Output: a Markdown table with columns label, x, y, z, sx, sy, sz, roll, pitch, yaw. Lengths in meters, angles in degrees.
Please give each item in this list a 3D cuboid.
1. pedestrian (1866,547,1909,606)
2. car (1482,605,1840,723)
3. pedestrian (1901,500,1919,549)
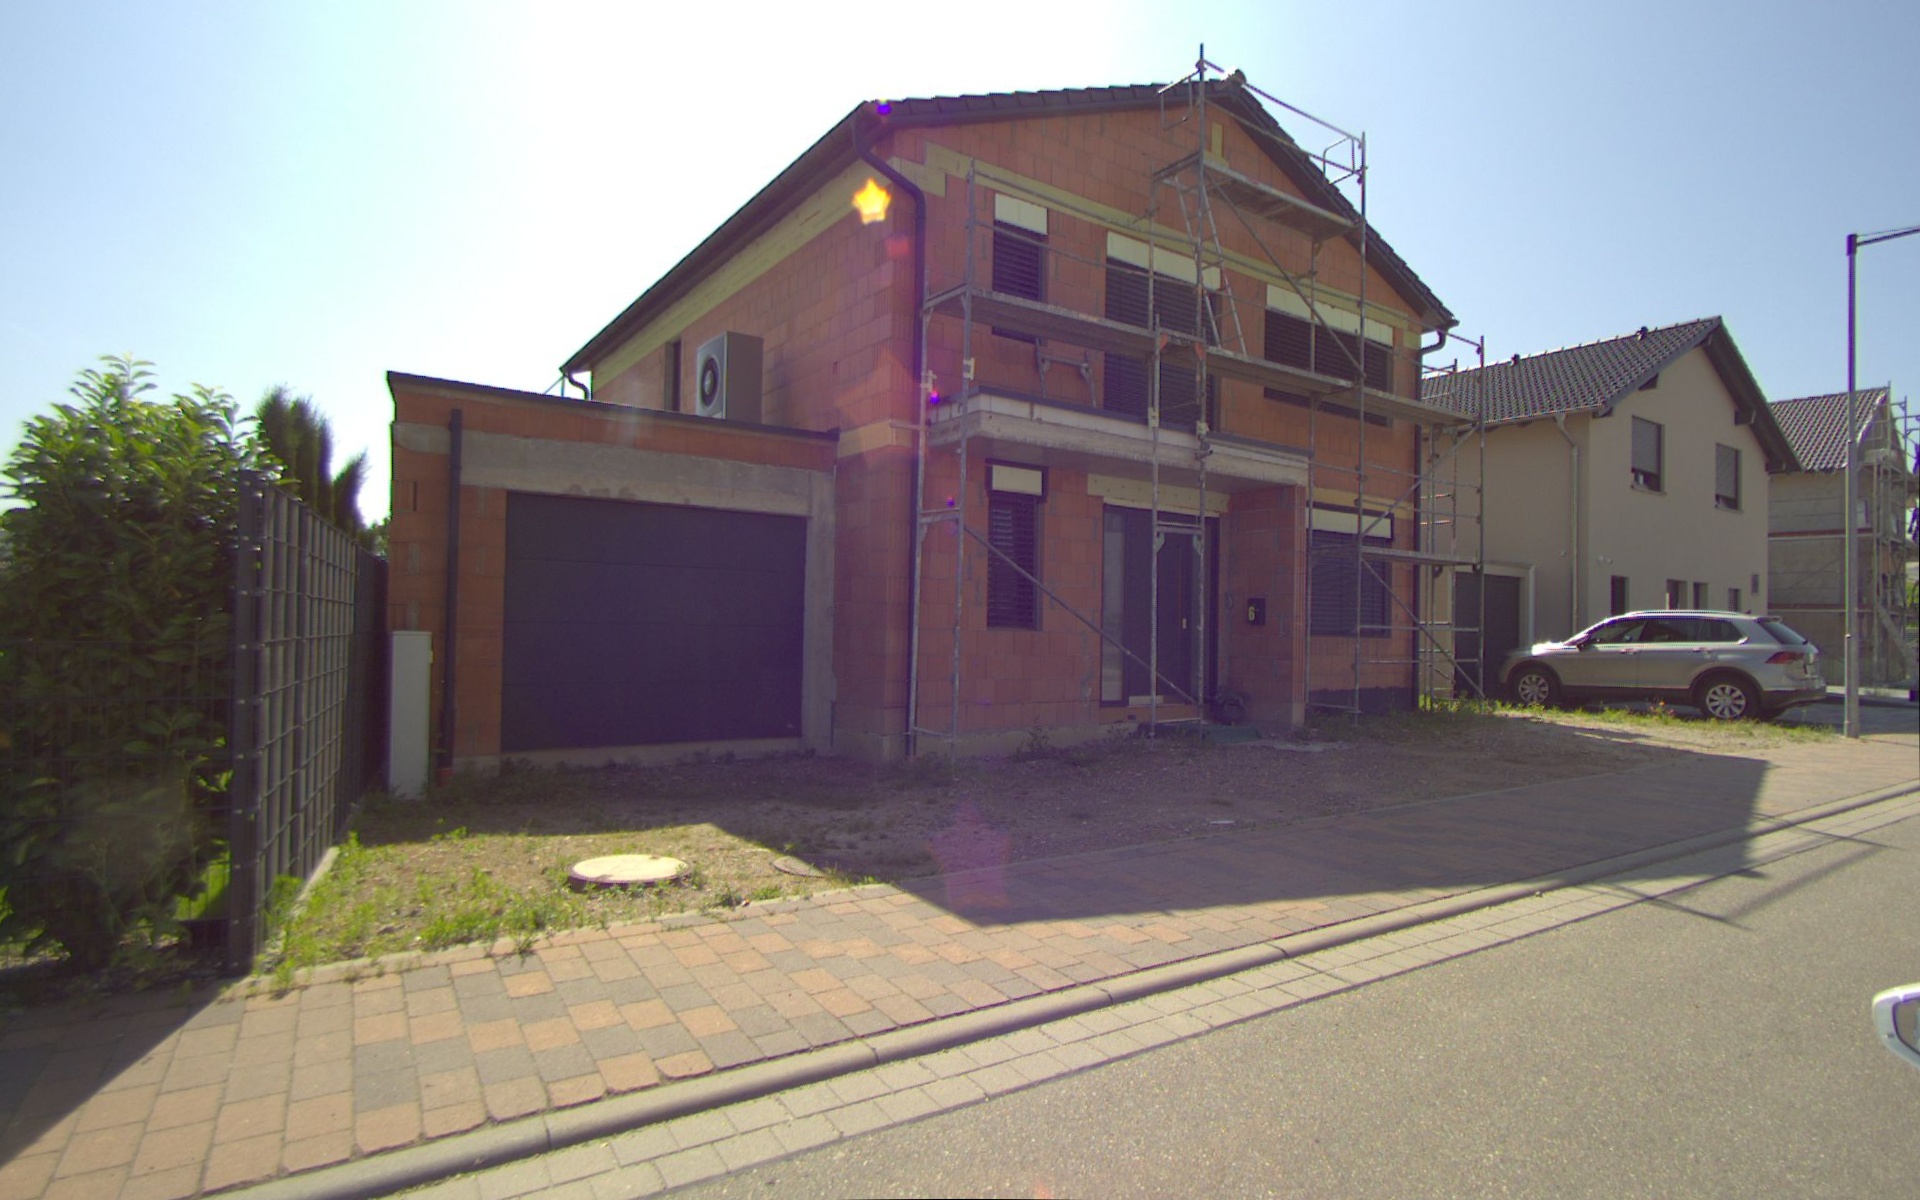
| label | x | y | z | sx | sy | sz | roll | pitch | yaw |
| --- | --- | --- | --- | --- | --- | --- | --- | --- | --- |
| pedestrian | 27.429 | -0.696 | 29.717 | 0.733 | 1.701 | 0.579 | 1 | -3 | 10 |
| car | 11.157 | 0.950 | 16.278 | 1.982 | 1.633 | 4.392 | 1 | -2 | -37 |
| pedestrian | 31.537 | -2.486 | 33.189 | 0.742 | 1.519 | 0.557 | 4 | -3 | -39 |
